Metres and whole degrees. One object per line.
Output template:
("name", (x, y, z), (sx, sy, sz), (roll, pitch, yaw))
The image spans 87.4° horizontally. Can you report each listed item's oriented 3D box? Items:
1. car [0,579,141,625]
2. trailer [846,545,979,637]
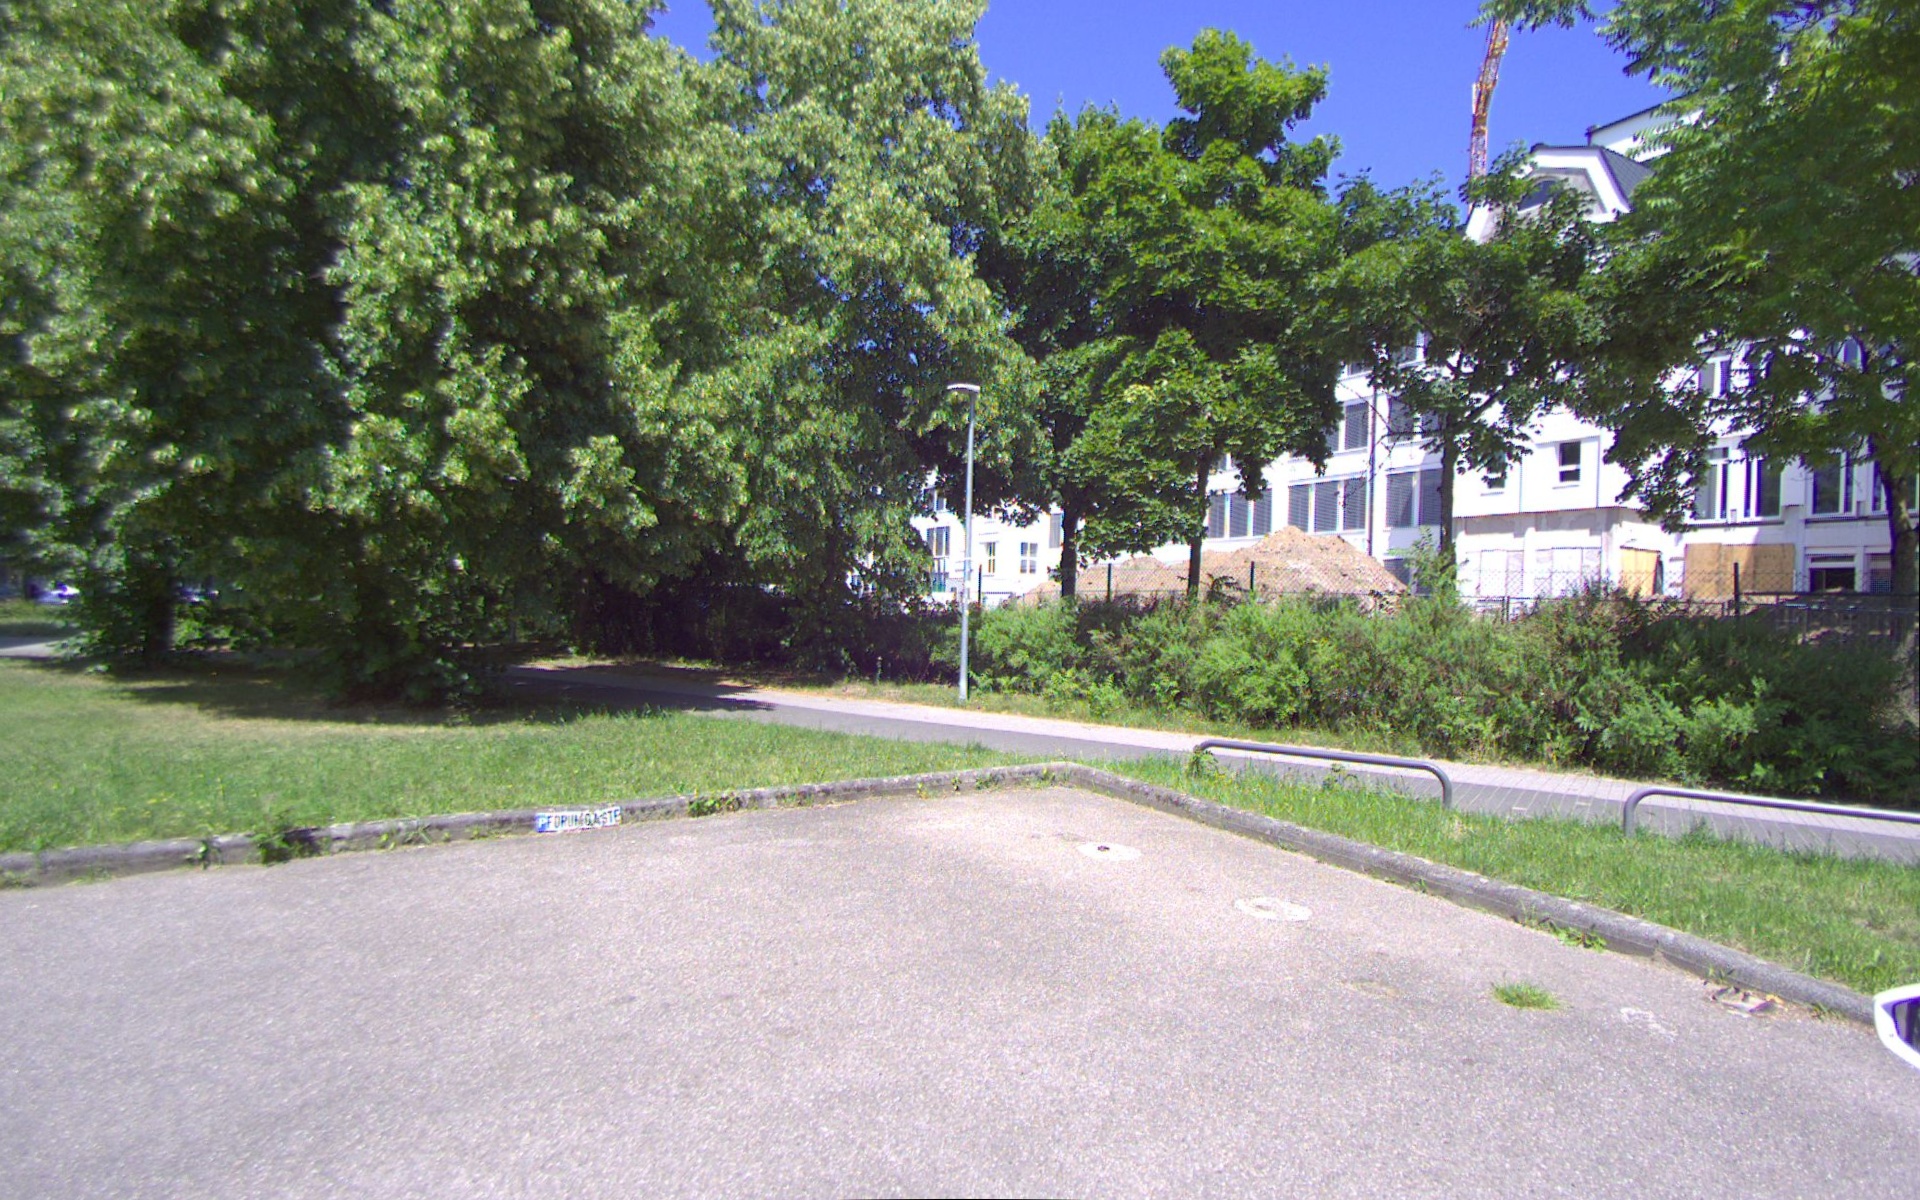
("car", (-35.085, 0.088, 39.550), (4.126, 1.639, 1.959), (3, -1, -32))
("trailer", (-2.281, -0.366, 43.388), (2.998, 3.466, 8.728), (3, -1, -21))
